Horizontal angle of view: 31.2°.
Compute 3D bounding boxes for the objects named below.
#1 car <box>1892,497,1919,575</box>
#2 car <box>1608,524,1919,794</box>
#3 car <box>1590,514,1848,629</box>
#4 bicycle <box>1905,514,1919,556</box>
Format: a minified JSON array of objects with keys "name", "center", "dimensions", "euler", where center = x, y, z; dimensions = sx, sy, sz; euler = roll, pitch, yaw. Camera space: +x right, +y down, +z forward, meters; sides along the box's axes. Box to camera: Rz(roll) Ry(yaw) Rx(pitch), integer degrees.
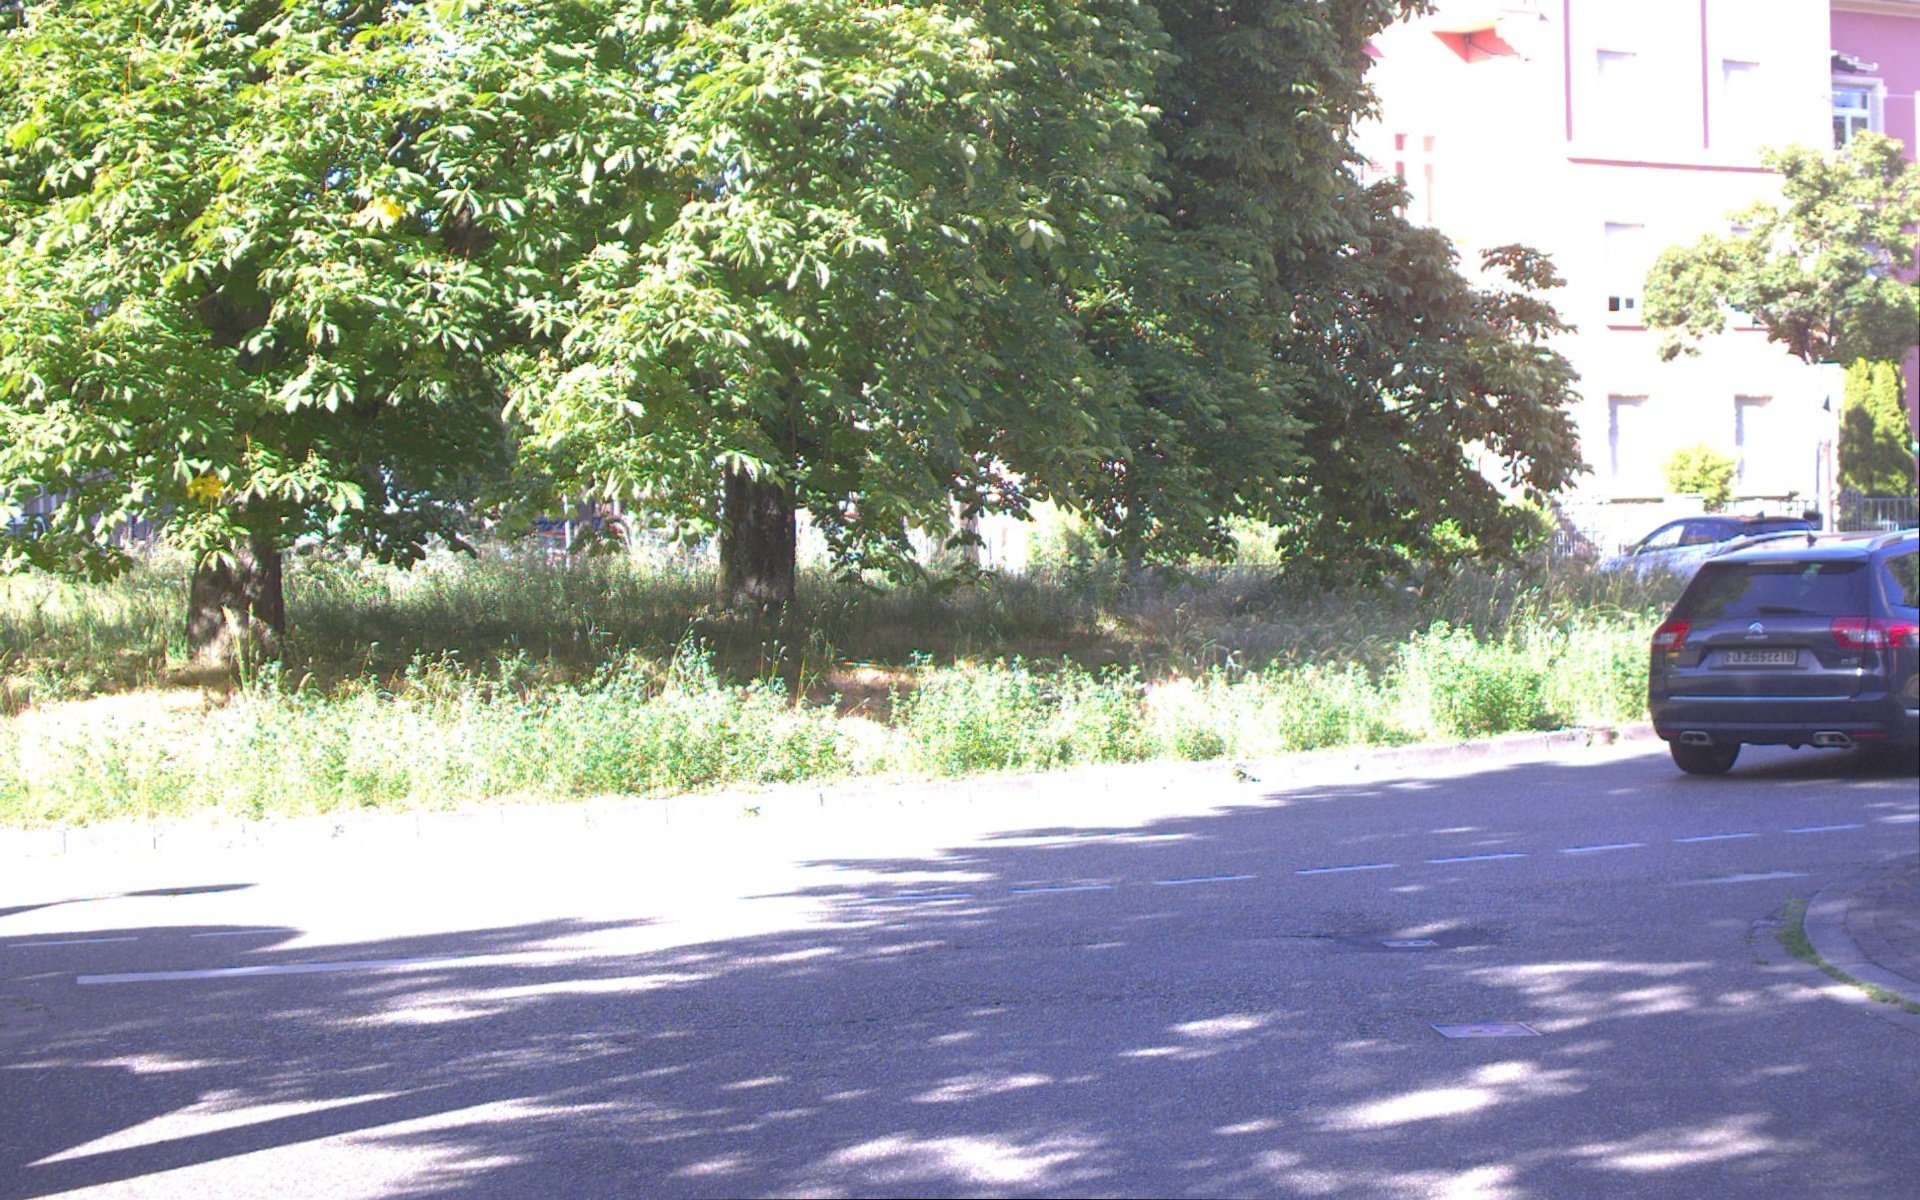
[{"name":"car","center":[18.288,-1.172,60.410],"dimensions":[3.633,1.364,1.760],"euler":[-2,2,-35]},{"name":"car","center":[5.892,0.290,21.654],"dimensions":[1.718,1.478,4.135],"euler":[-1,2,40]},{"name":"car","center":[10.827,-0.412,49.255],"dimensions":[1.555,1.546,3.646],"euler":[-2,1,-29]},{"name":"bicycle","center":[18.694,-1.243,65.162],"dimensions":[0.477,0.797,2.029],"euler":[-2,1,-17]}]
